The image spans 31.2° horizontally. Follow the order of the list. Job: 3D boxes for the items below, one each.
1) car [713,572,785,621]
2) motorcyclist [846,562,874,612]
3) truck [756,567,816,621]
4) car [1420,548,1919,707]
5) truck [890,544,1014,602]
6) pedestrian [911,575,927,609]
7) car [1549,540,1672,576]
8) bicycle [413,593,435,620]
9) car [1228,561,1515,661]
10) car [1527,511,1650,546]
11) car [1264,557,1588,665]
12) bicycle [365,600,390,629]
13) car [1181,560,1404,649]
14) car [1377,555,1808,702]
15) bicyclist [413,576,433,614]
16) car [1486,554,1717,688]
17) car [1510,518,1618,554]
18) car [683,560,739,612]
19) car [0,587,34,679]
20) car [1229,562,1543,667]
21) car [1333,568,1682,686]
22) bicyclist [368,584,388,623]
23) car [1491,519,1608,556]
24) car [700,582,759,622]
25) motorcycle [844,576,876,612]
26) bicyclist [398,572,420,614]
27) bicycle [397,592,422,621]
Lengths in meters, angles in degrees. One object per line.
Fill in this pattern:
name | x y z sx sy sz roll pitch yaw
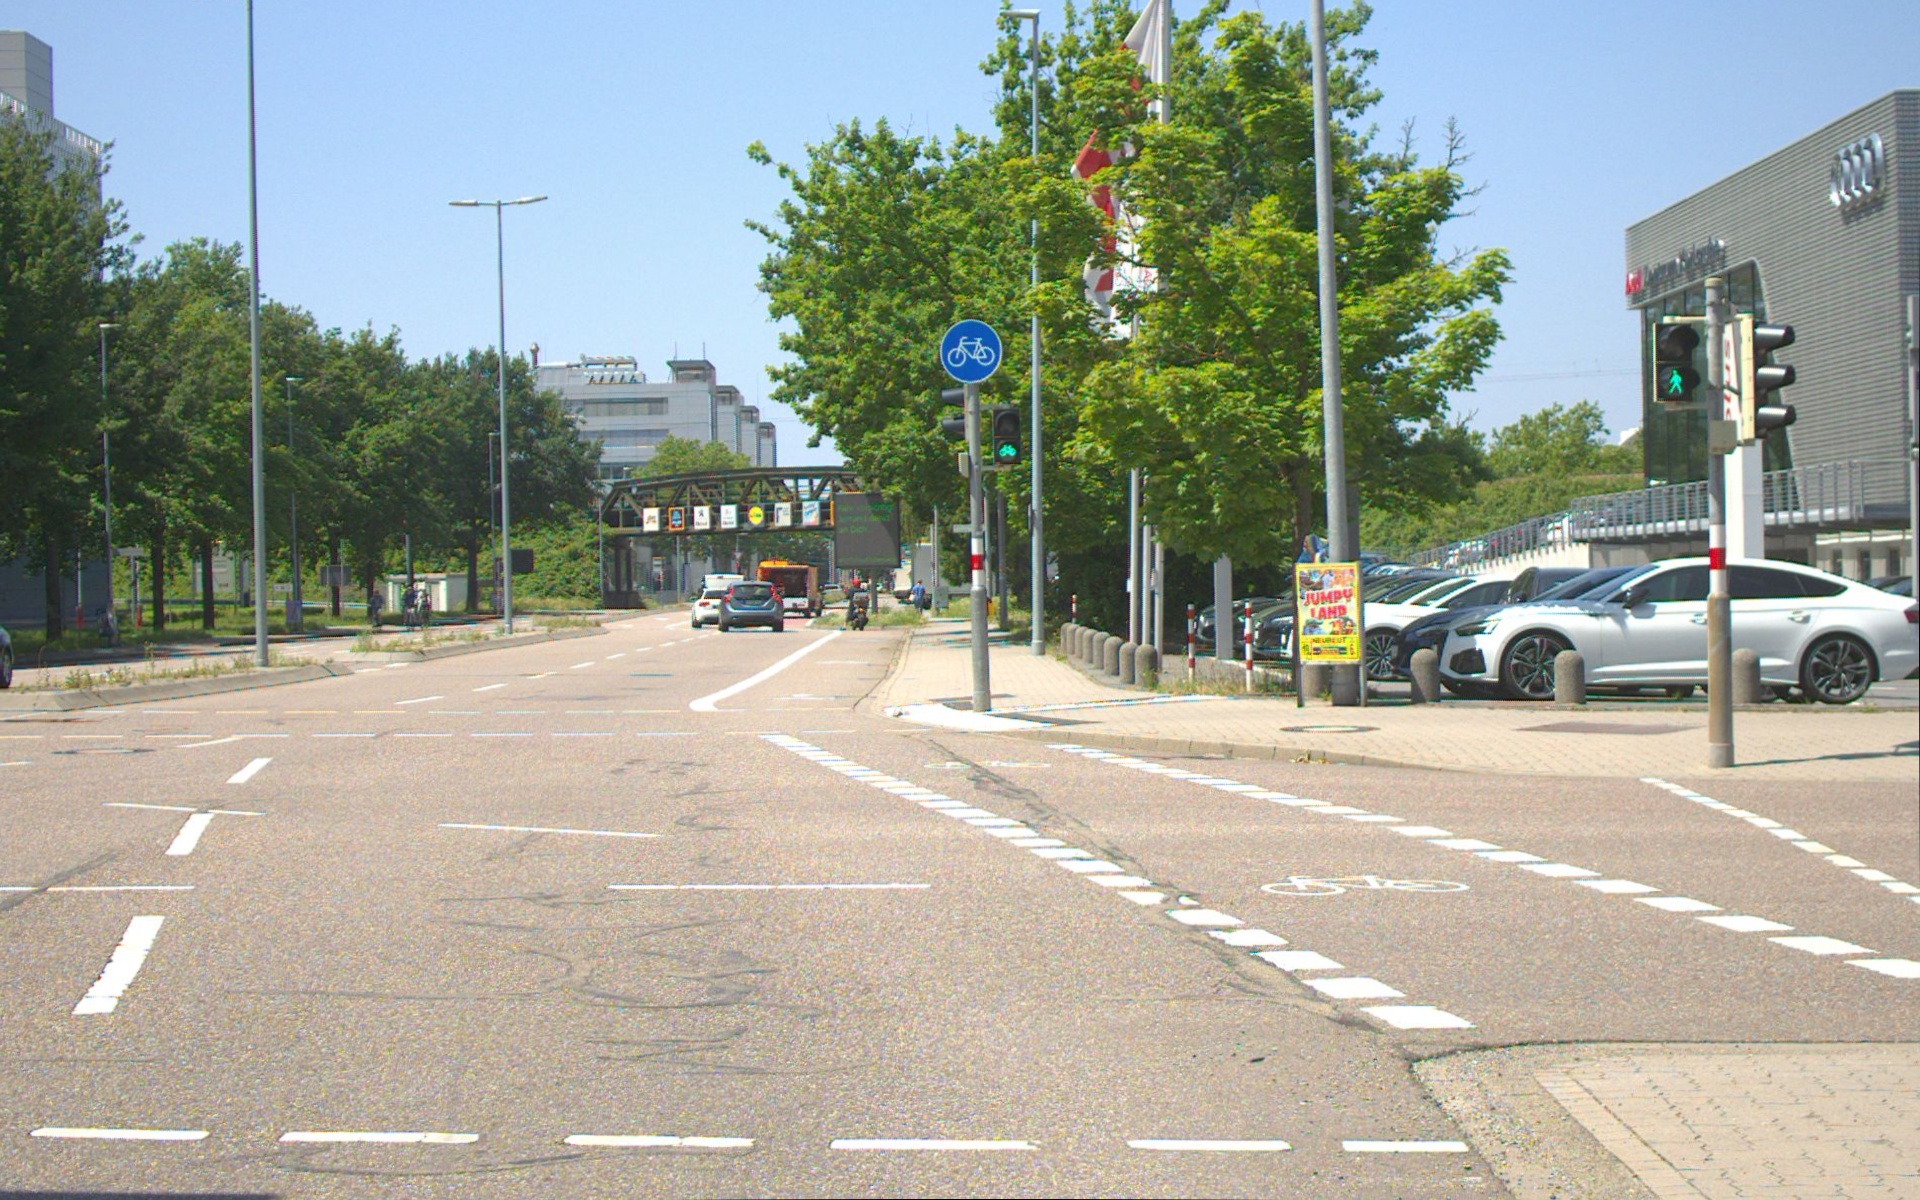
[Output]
car | -6.112 -0.110 99.974 1.900 1.371 4.232 -1 0 -1
motorcyclist | -3.080 -0.400 106.047 0.719 1.524 0.871 1 0 -10
truck | -7.951 -0.298 157.491 2.458 2.402 7.134 1 1 -1
car | 6.871 0.254 33.260 4.592 1.385 1.869 1 0 2
truck | -0.373 -1.346 171.678 5.595 2.841 2.624 0 1 -30
pedestrian | -1.713 -0.327 142.442 0.623 1.370 0.564 -1 0 -2
car | 21.853 -1.402 115.577 3.724 1.127 1.684 1 0 -5
bicycle | -23.511 0.271 150.745 0.629 1.155 2.117 -3 0 -1
car | 6.213 0.163 52.237 4.101 1.400 1.869 1 0 0
car | 22.108 -2.504 120.972 3.938 1.207 1.718 0 0 -5
car | 6.264 0.141 46.536 4.099 1.344 1.869 1 0 0
bicycle | -23.493 0.572 138.706 0.637 1.130 1.970 -1 0 1
car | 5.791 0.074 60.217 3.681 1.448 1.834 1 0 0
car | 6.514 0.283 35.731 4.096 1.385 1.869 1 0 0
bicyclist | -23.532 -0.223 150.670 0.633 1.623 1.045 -3 0 -1
car | 7.333 0.213 39.737 1.863 1.415 4.662 1 0 1
car | 21.913 -2.305 124.824 3.523 1.235 1.677 1 0 -5
car | -9.936 -0.555 137.490 1.993 2.007 4.000 -1 0 -1
car | -15.950 0.558 53.270 1.726 1.441 4.719 -3 0 2
car | 6.076 0.202 49.382 4.226 1.385 1.869 1 0 0
car | 6.905 0.331 43.689 4.096 1.360 1.874 1 0 0
bicyclist | -23.495 0.136 138.778 0.637 1.577 0.884 -1 0 0
car | 22.152 -2.337 129.304 3.986 1.307 1.798 1 0 -5
car | -8.175 0.061 122.379 1.924 1.415 4.000 0 0 -1
motorcycle | -3.076 -0.188 105.998 0.716 1.101 1.831 1 0 -10
bicyclist | -22.534 -0.282 140.651 0.745 1.680 0.952 -1 0 -2
bicycle | -22.528 0.264 140.711 0.739 1.121 2.435 -1 0 -3
